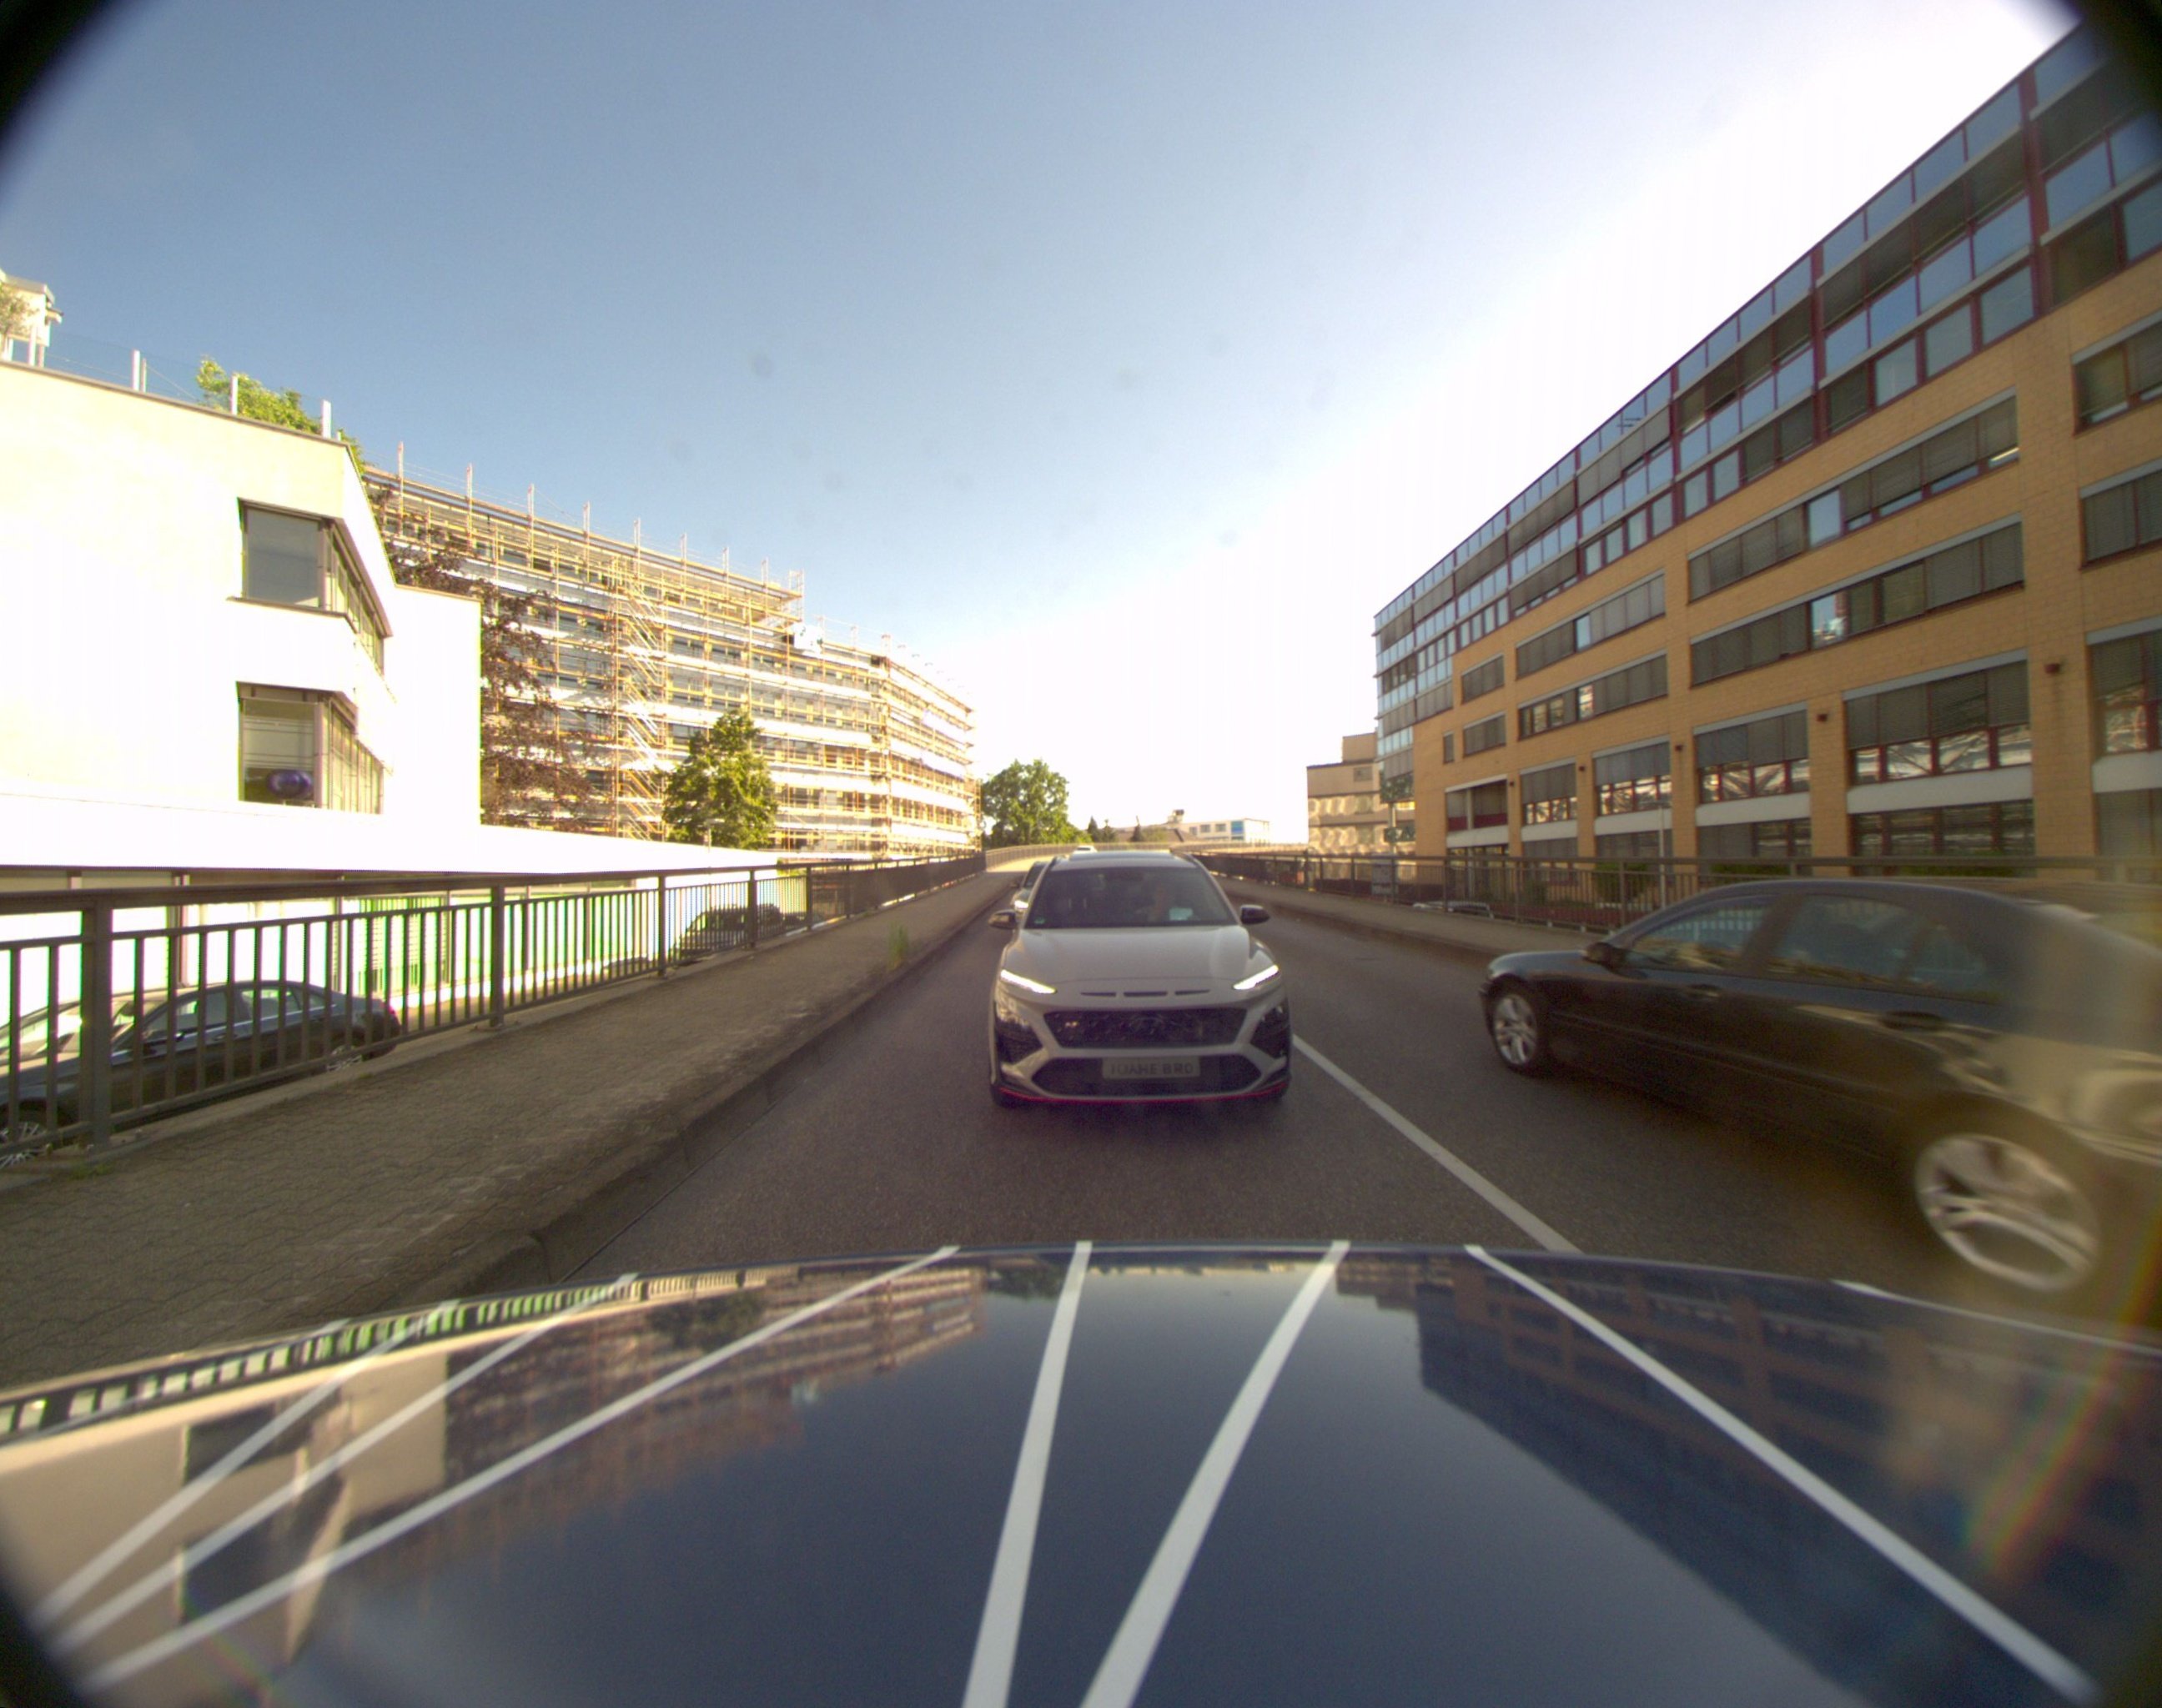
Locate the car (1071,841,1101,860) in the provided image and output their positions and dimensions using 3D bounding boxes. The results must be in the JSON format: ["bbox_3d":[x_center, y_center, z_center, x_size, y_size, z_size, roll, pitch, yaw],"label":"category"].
[{"bbox_3d":[0.454,-0.329,69.391,1.950,1.456,4.002,3,3,11],"label":"car"}]

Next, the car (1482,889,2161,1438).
[{"bbox_3d":[3.866,0.949,3.454,1.746,1.399,4.200,0,0,-2],"label":"car"}]

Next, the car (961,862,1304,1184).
[{"bbox_3d":[0.290,0.890,5.884,1.749,1.637,4.001,0,-1,1],"label":"car"}]

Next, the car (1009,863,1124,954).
[{"bbox_3d":[-0.284,0.936,14.731,1.902,1.433,4.126,0,0,-1],"label":"car"}]

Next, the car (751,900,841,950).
[{"bbox_3d":[-10.086,2.481,27.208,1.726,1.383,4.000,-2,-1,-1],"label":"car"}]

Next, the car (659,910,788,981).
[{"bbox_3d":[-9.905,2.475,21.420,1.726,1.513,4.000,-2,-1,-1],"label":"car"}]

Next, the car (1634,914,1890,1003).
[{"bbox_3d":[13.051,1.941,14.912,1.580,1.261,3.809,0,-1,-1],"label":"car"}]

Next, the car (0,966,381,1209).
[{"bbox_3d":[-9.575,2.150,7.409,1.726,1.513,4.001,-2,-1,1],"label":"car"}]

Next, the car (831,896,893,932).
[{"bbox_3d":[-10.208,2.776,35.669,1.726,1.383,4.000,-2,-1,-1],"label":"car"}]

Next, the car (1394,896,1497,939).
[{"bbox_3d":[12.746,2.196,26.819,1.766,1.261,3.809,0,-1,-1],"label":"car"}]
